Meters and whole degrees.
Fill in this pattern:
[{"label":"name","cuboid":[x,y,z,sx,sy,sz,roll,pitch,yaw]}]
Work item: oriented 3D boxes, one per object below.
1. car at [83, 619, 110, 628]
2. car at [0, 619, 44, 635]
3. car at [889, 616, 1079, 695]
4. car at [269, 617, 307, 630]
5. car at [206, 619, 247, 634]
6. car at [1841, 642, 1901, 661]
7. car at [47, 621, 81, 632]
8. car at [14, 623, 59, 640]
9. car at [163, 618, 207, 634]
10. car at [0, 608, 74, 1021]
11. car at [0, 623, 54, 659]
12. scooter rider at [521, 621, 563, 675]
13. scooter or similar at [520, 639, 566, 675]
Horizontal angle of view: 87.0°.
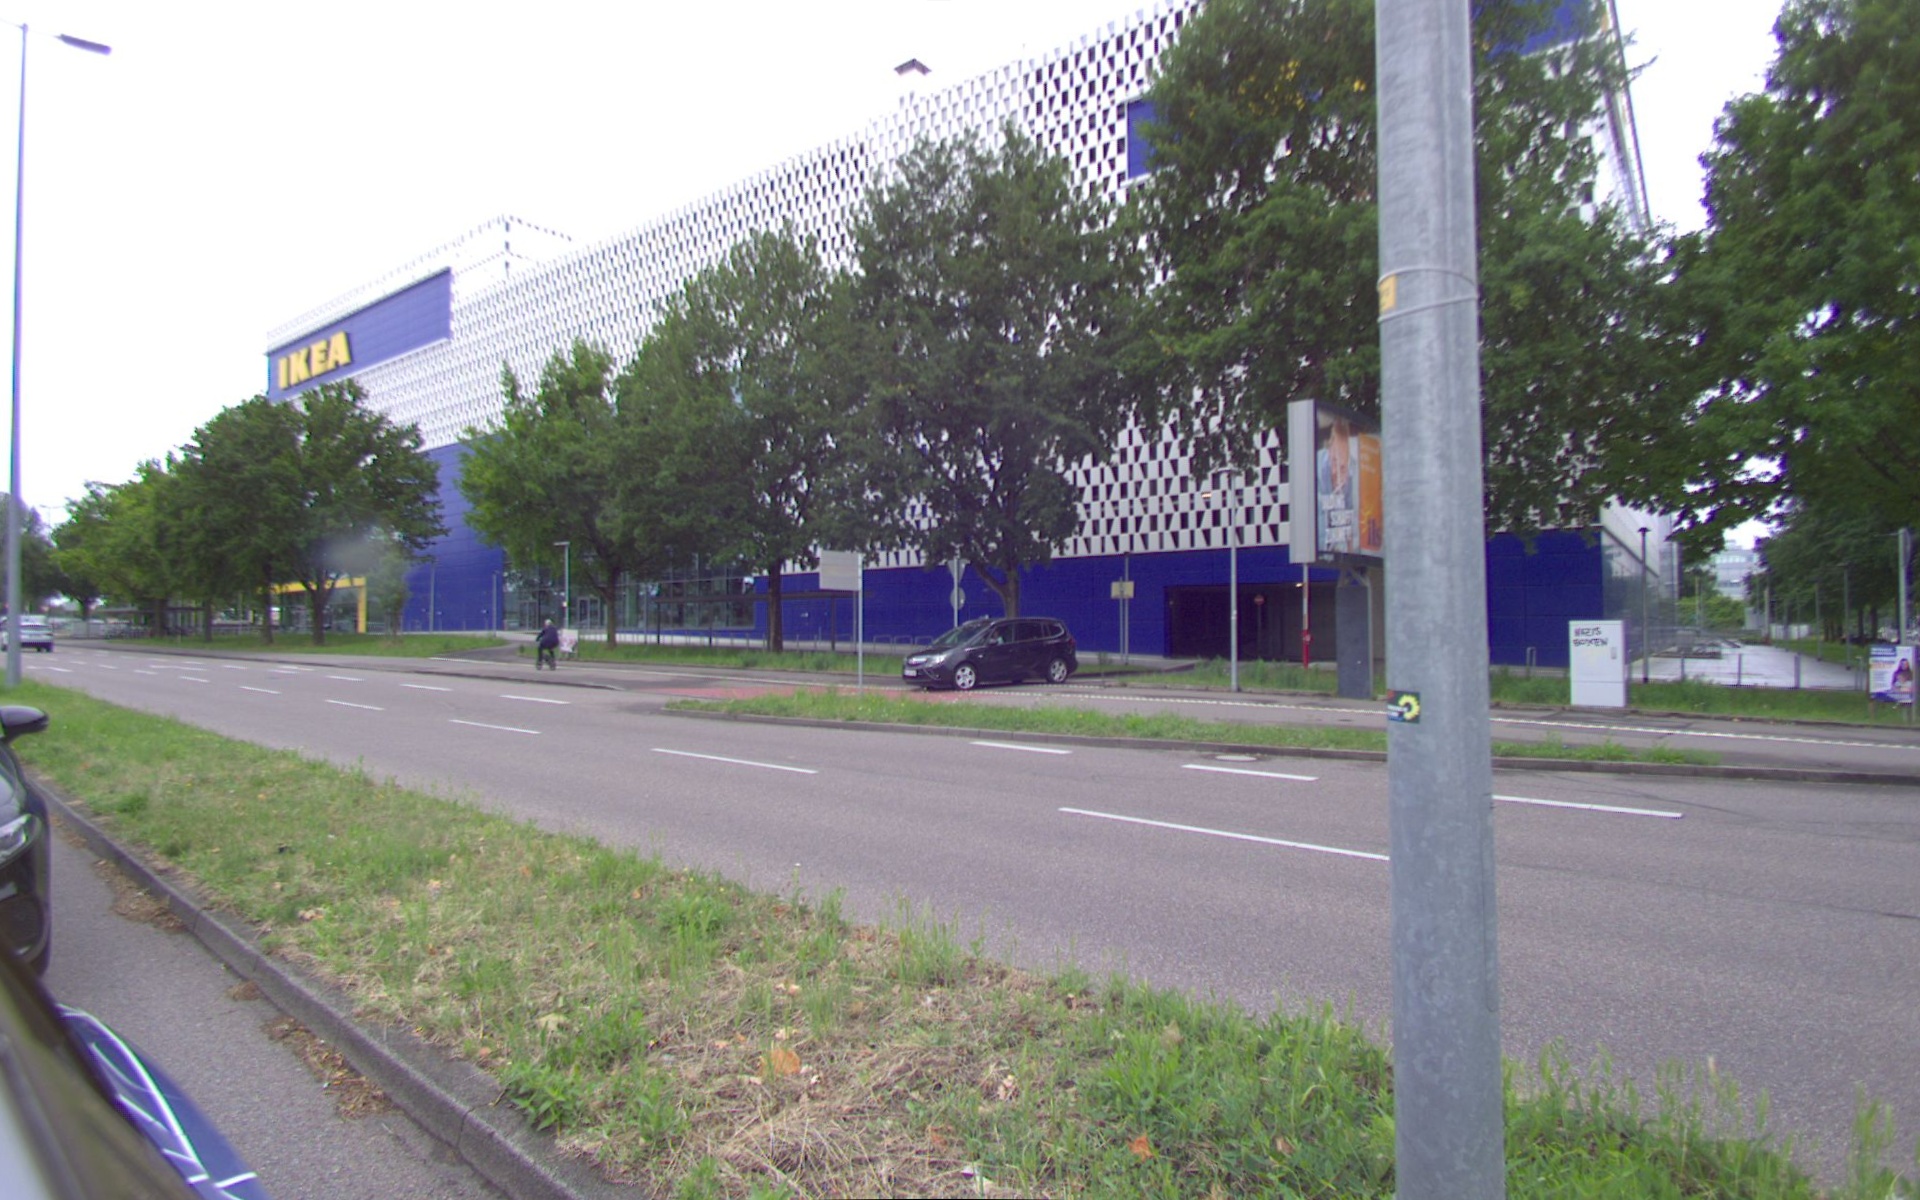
[{"label":"car","cuboid":[-158.352,4.333,185.655,1.741,1.652,3.522,-1,0,37]},{"label":"car","cuboid":[-124.765,3.606,134.214,1.998,2.029,4.650,-1,0,38]},{"label":"car","cuboid":[0.615,1.255,24.122,4.290,1.668,1.853,0,-1,-36]},{"label":"car","cuboid":[-93.454,3.257,140.787,1.994,1.829,3.956,-1,0,33]},{"label":"car","cuboid":[-97.517,3.526,134.603,1.994,1.829,3.956,-1,0,33]},{"label":"car","cuboid":[86.545,4.897,96.197,3.991,1.630,1.782,-1,0,35]},{"label":"car","cuboid":[-161.090,4.724,181.971,1.741,1.837,4.239,-1,0,37]},{"label":"car","cuboid":[-118.321,4.040,129.663,1.998,2.029,3.948,-1,0,38]},{"label":"car","cuboid":[-86.320,2.877,112.742,1.741,1.652,3.522,-1,0,37]},{"label":"car","cuboid":[-5.431,0.825,4.402,4.194,1.445,1.835,-2,-1,41]},{"label":"car","cuboid":[-52.163,2.239,56.453,3.921,1.900,1.824,-1,0,39]},{"label":"scooter rider","cuboid":[-13.764,1.578,33.297,1.033,1.733,0.791,-1,-1,24]},{"label":"scooter or similar","cuboid":[-13.717,1.871,33.288,1.417,1.134,0.585,-1,2,24]}]
